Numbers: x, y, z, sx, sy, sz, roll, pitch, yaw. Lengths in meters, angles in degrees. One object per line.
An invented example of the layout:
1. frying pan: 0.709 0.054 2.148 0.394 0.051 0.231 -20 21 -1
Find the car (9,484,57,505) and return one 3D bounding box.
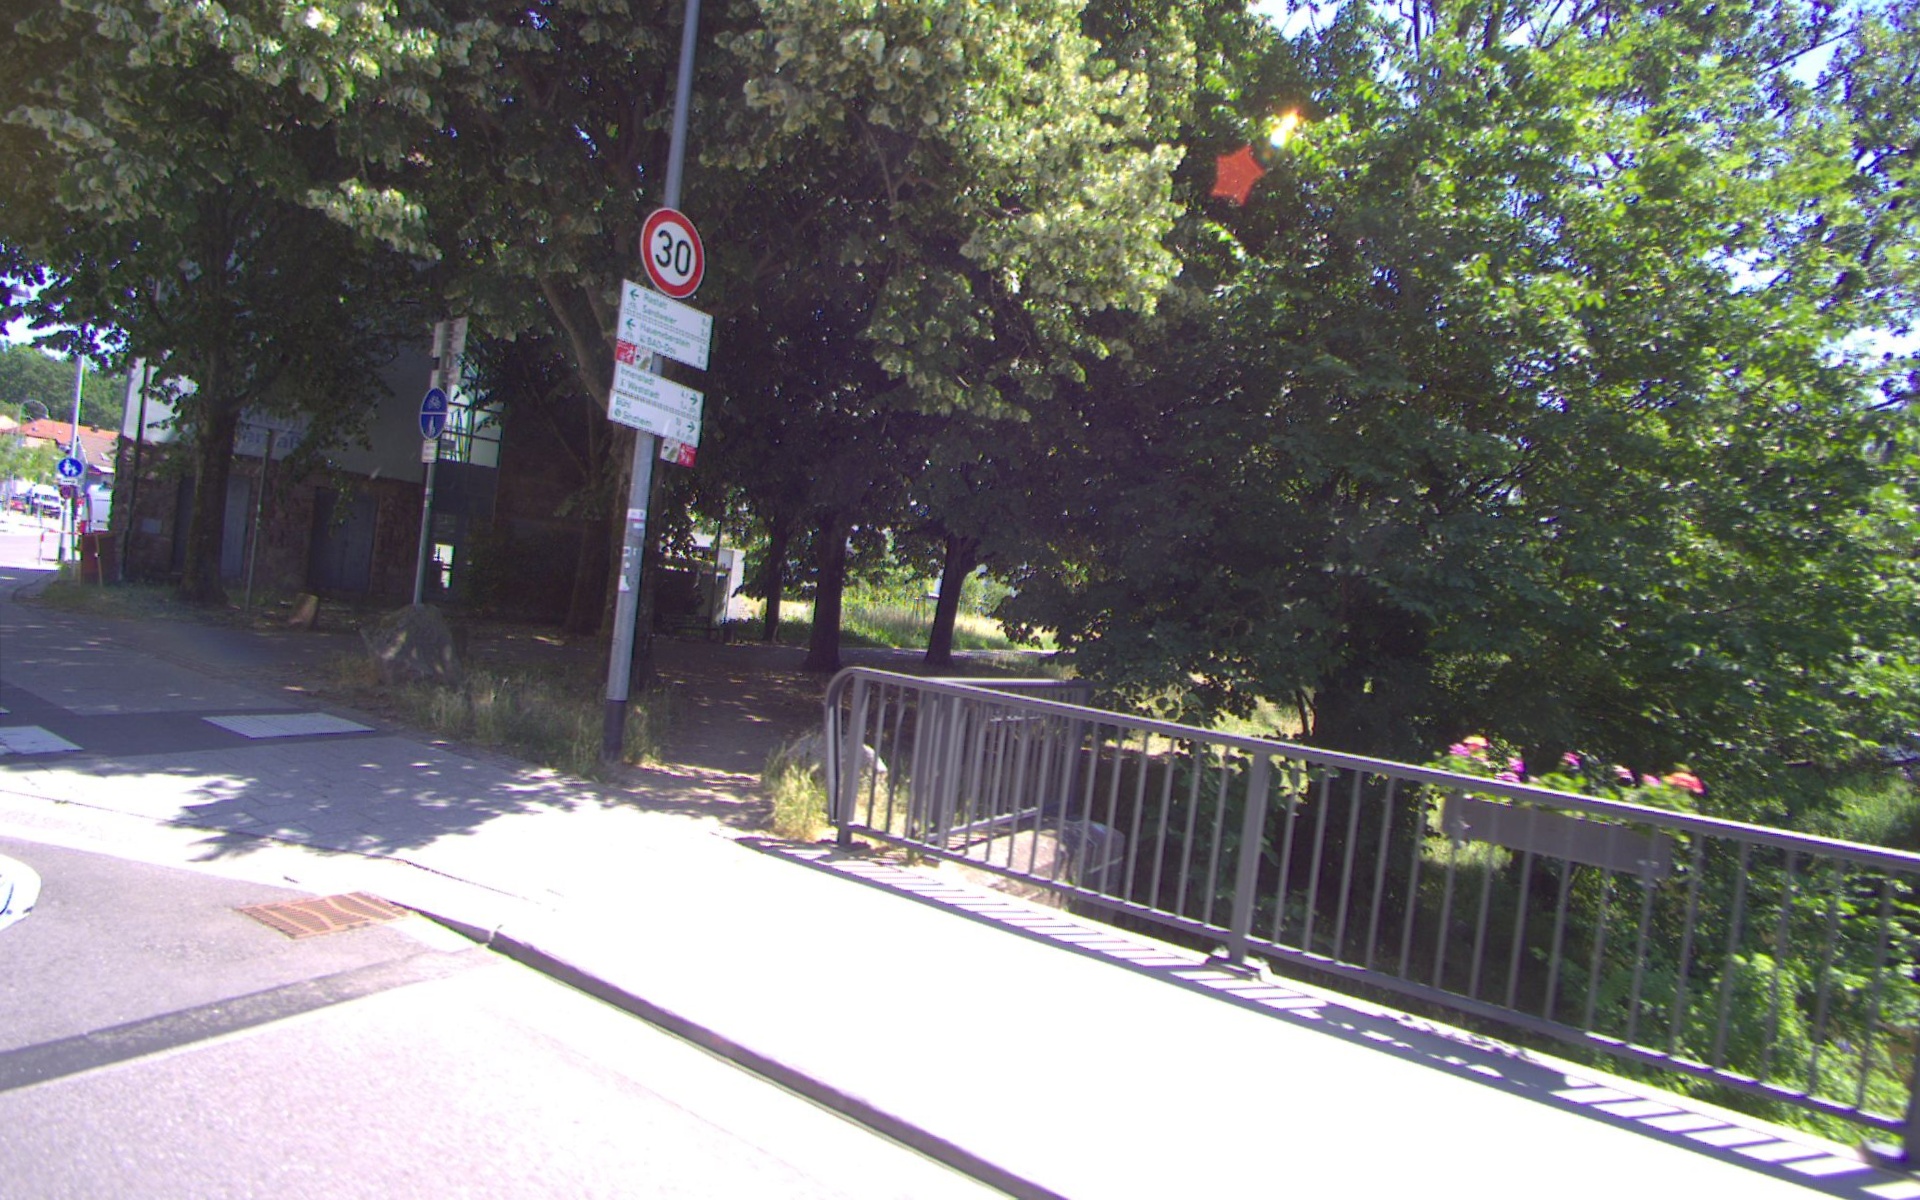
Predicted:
1. car: -124.809 -14.157 135.438 1.962 2.037 4.278 5 -2 13

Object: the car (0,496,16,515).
1. car: -98.495 -9.837 102.960 3.939 1.713 1.994 7 -1 37

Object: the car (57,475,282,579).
1. car: -27.861 -2.490 35.819 5.901 2.765 2.177 7 0 -34

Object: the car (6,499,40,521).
1. car: -88.926 -8.512 95.456 3.947 1.760 1.989 6 0 44

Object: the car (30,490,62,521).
1. car: -81.677 -8.409 89.858 1.861 2.430 4.758 6 0 -44
